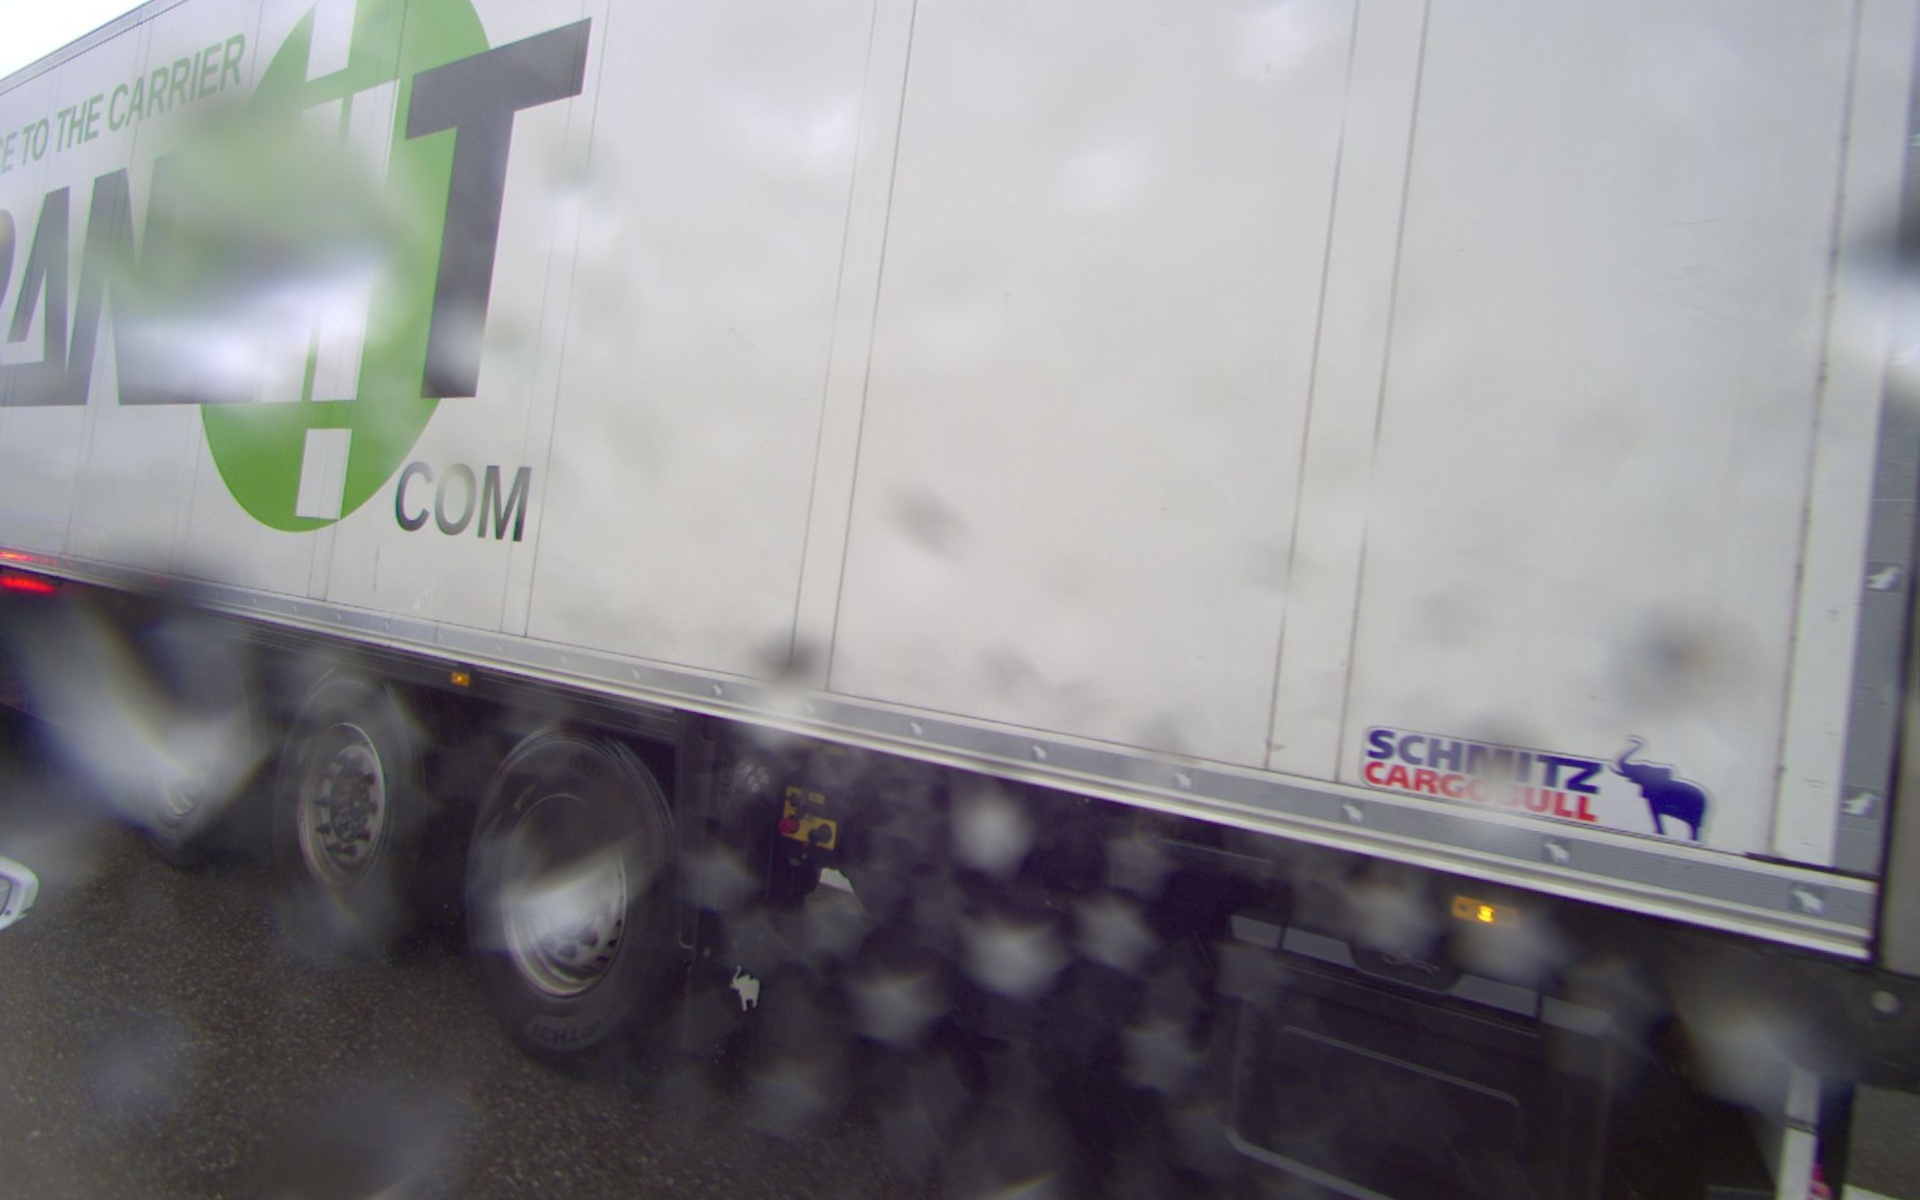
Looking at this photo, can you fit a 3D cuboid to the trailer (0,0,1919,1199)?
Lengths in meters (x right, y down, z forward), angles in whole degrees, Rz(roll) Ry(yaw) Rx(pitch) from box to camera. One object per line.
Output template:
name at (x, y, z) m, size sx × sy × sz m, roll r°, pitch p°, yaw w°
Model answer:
trailer at (-3.932, -0.980, 6.152) m, size 14.387 × 4.061 × 2.634 m, roll 7°, pitch -1°, yaw 32°

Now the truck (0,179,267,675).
truck at (-9.448, -1.571, 9.633) m, size 4.712 × 3.873 × 2.634 m, roll 7°, pitch 0°, yaw 32°
